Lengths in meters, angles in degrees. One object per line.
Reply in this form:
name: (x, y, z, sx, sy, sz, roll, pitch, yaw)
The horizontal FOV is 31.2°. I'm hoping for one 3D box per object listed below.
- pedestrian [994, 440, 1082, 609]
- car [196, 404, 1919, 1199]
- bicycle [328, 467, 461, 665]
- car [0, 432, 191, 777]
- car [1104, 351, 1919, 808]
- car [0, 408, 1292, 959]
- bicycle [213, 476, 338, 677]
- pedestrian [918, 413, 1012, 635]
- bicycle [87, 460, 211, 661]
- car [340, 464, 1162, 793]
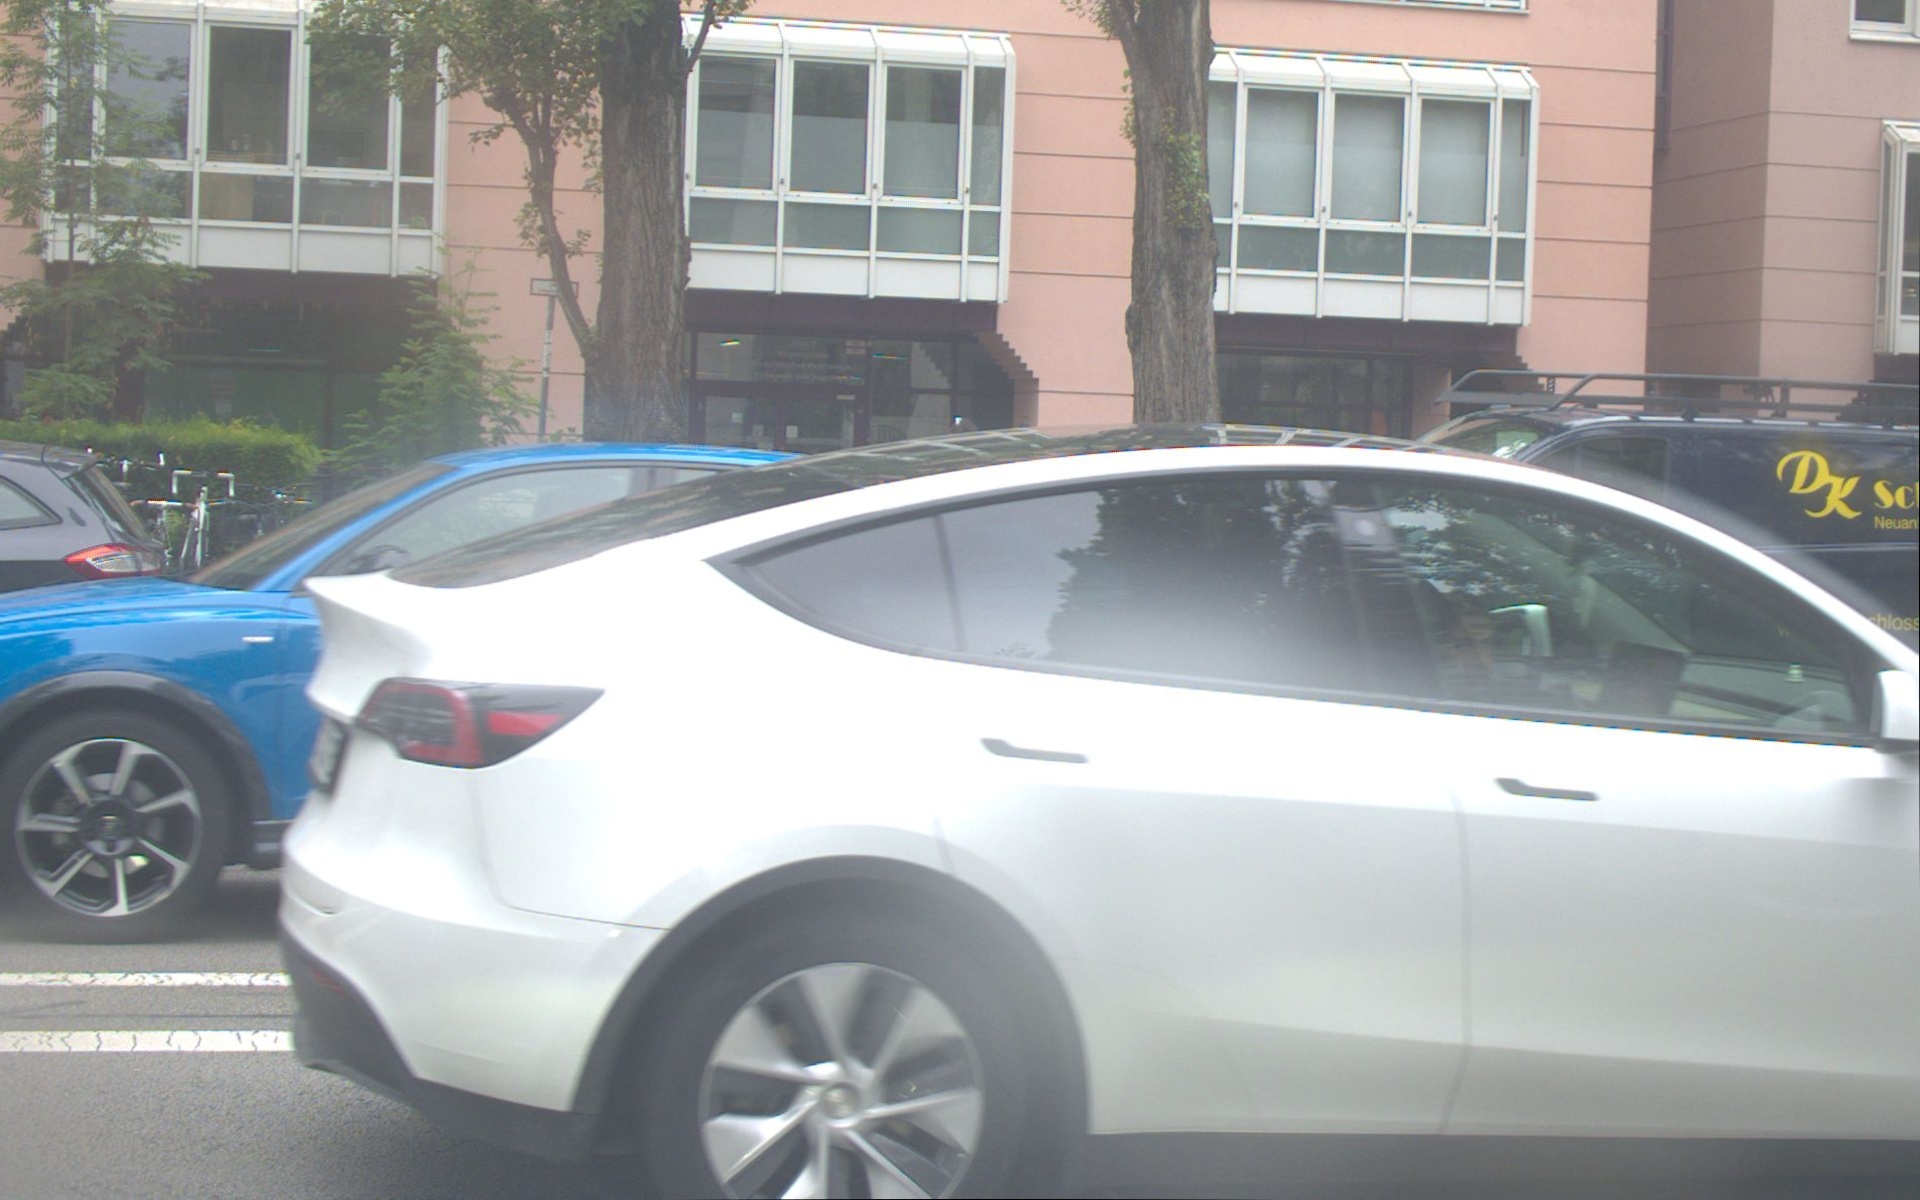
pedestrian: (0.805, -0.789, 35.614, 0.707, 1.707, 0.732, 2, 2, -10)
car: (0.778, 0.471, 7.311, 4.622, 1.570, 2.001, 1, 4, -14)
bicycle: (-3.473, -0.228, 21.025, 0.673, 1.120, 1.730, 1, 3, -13)
car: (-5.958, -0.057, 15.966, 4.607, 1.523, 1.794, 1, 3, -13)
car: (3.716, -0.109, 18.318, 5.477, 2.189, 2.025, 1, 3, -13)
car: (-1.351, 0.252, 11.145, 4.406, 1.573, 1.872, 1, 1, -15)
bicycle: (-4.167, -0.165, 20.863, 0.673, 1.120, 1.742, 1, 3, -13)
pedestrian: (0.034, -0.585, 26.230, 0.557, 1.657, 0.621, 2, 3, -9)
bicycle: (-4.876, -0.261, 20.701, 0.673, 1.120, 1.742, 1, 3, -13)
car: (-1.098, 0.119, 17.105, 3.859, 1.443, 1.679, 1, 3, -11)
